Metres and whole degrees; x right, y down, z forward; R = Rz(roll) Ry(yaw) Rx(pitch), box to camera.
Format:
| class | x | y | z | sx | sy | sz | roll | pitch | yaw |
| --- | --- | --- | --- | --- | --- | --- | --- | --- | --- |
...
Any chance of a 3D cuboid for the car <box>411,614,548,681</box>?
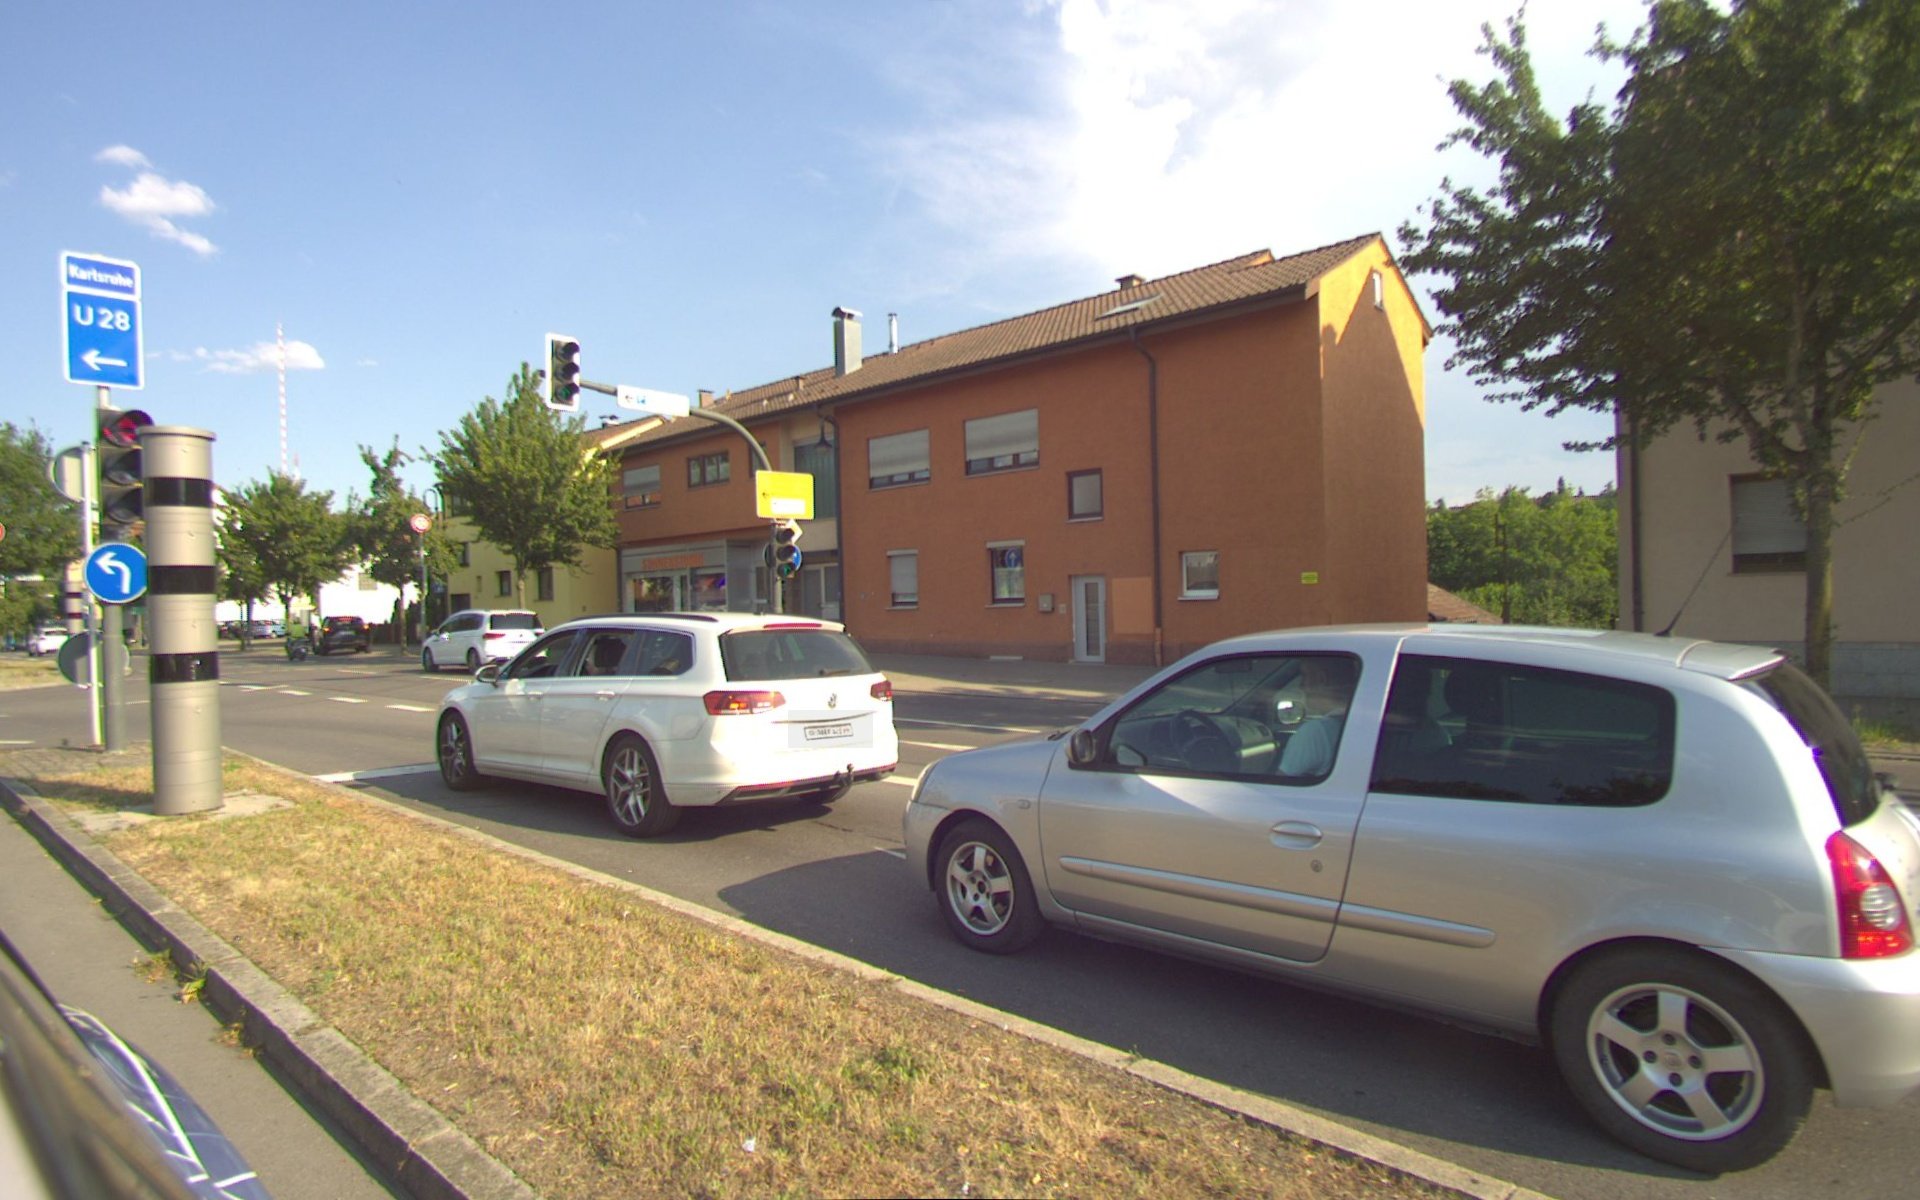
| class | x | y | z | sx | sy | sz | roll | pitch | yaw |
| --- | --- | --- | --- | --- | --- | --- | --- | --- | --- |
| car | -12.760 | 1.212 | 26.778 | 4.411 | 1.624 | 1.668 | -2 | -1 | 41 |

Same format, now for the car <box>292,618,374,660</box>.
| class | x | y | z | sx | sy | sz | roll | pitch | yaw |
| --- | --- | --- | --- | --- | --- | --- | --- | --- | --- |
| car | -26.202 | 1.613 | 42.237 | 4.460 | 1.607 | 1.834 | -2 | -2 | 43 |

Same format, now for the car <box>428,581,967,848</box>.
| class | x | y | z | sx | sy | sz | roll | pitch | yaw |
| --- | --- | --- | --- | --- | --- | --- | --- | --- | --- |
| car | -2.266 | 0.712 | 7.895 | 4.564 | 1.500 | 1.816 | -2 | -1 | 41 |

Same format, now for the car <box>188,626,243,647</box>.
| class | x | y | z | sx | sy | sz | roll | pitch | yaw |
| --- | --- | --- | --- | --- | --- | --- | --- | --- | --- |
| car | -57.610 | 2.824 | 78.371 | 1.836 | 1.638 | 3.410 | 0 | -2 | -1 |

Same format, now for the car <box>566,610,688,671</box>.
| class | x | y | z | sx | sy | sz | roll | pitch | yaw |
| --- | --- | --- | --- | --- | --- | --- | --- | --- | --- |
| car | -9.211 | 1.100 | 27.848 | 3.777 | 1.449 | 1.574 | -2 | 3 | 45 |

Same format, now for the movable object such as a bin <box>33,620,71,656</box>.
| class | x | y | z | sx | sy | sz | roll | pitch | yaw |
| --- | --- | --- | --- | --- | --- | --- | --- | --- | --- |
| movable object such as a bin | -65.538 | 2.747 | 73.017 | 4.977 | 2.480 | 1.536 | -2 | -2 | 43 |

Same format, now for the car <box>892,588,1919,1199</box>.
| class | x | y | z | sx | sy | sz | roll | pitch | yaw |
| --- | --- | --- | --- | --- | --- | --- | --- | --- | --- |
| car | 1.528 | 0.719 | 3.891 | 3.579 | 1.438 | 1.571 | -1 | -1 | 44 |

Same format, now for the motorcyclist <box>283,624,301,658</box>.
| class | x | y | z | sx | sy | sz | roll | pitch | yaw |
| --- | --- | --- | --- | --- | --- | --- | --- | --- | --- |
| motorcyclist | -24.146 | 1.480 | 36.589 | 0.461 | 1.238 | 0.399 | -2 | -2 | 39 |

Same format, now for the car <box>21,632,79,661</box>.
| class | x | y | z | sx | sy | sz | roll | pitch | yaw |
| --- | --- | --- | --- | --- | --- | --- | --- | --- | --- |
| car | -46.890 | 2.375 | 52.111 | 3.997 | 1.422 | 1.739 | -2 | -1 | 41 |

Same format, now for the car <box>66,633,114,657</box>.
| class | x | y | z | sx | sy | sz | roll | pitch | yaw |
| --- | --- | --- | --- | --- | --- | --- | --- | --- | --- |
| car | -55.053 | 2.825 | 64.035 | 3.997 | 1.422 | 1.739 | -2 | -1 | 41 |

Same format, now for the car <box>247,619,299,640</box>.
| class | x | y | z | sx | sy | sz | roll | pitch | yaw |
| --- | --- | --- | --- | --- | --- | --- | --- | --- | --- |
| car | -52.595 | 2.251 | 77.541 | 1.599 | 1.555 | 3.429 | -1 | -2 | 2 |

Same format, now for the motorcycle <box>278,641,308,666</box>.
| class | x | y | z | sx | sy | sz | roll | pitch | yaw |
| --- | --- | --- | --- | --- | --- | --- | --- | --- | --- |
| motorcycle | -24.108 | 1.926 | 36.557 | 1.762 | 0.867 | 0.408 | -2 | -2 | 40 |
